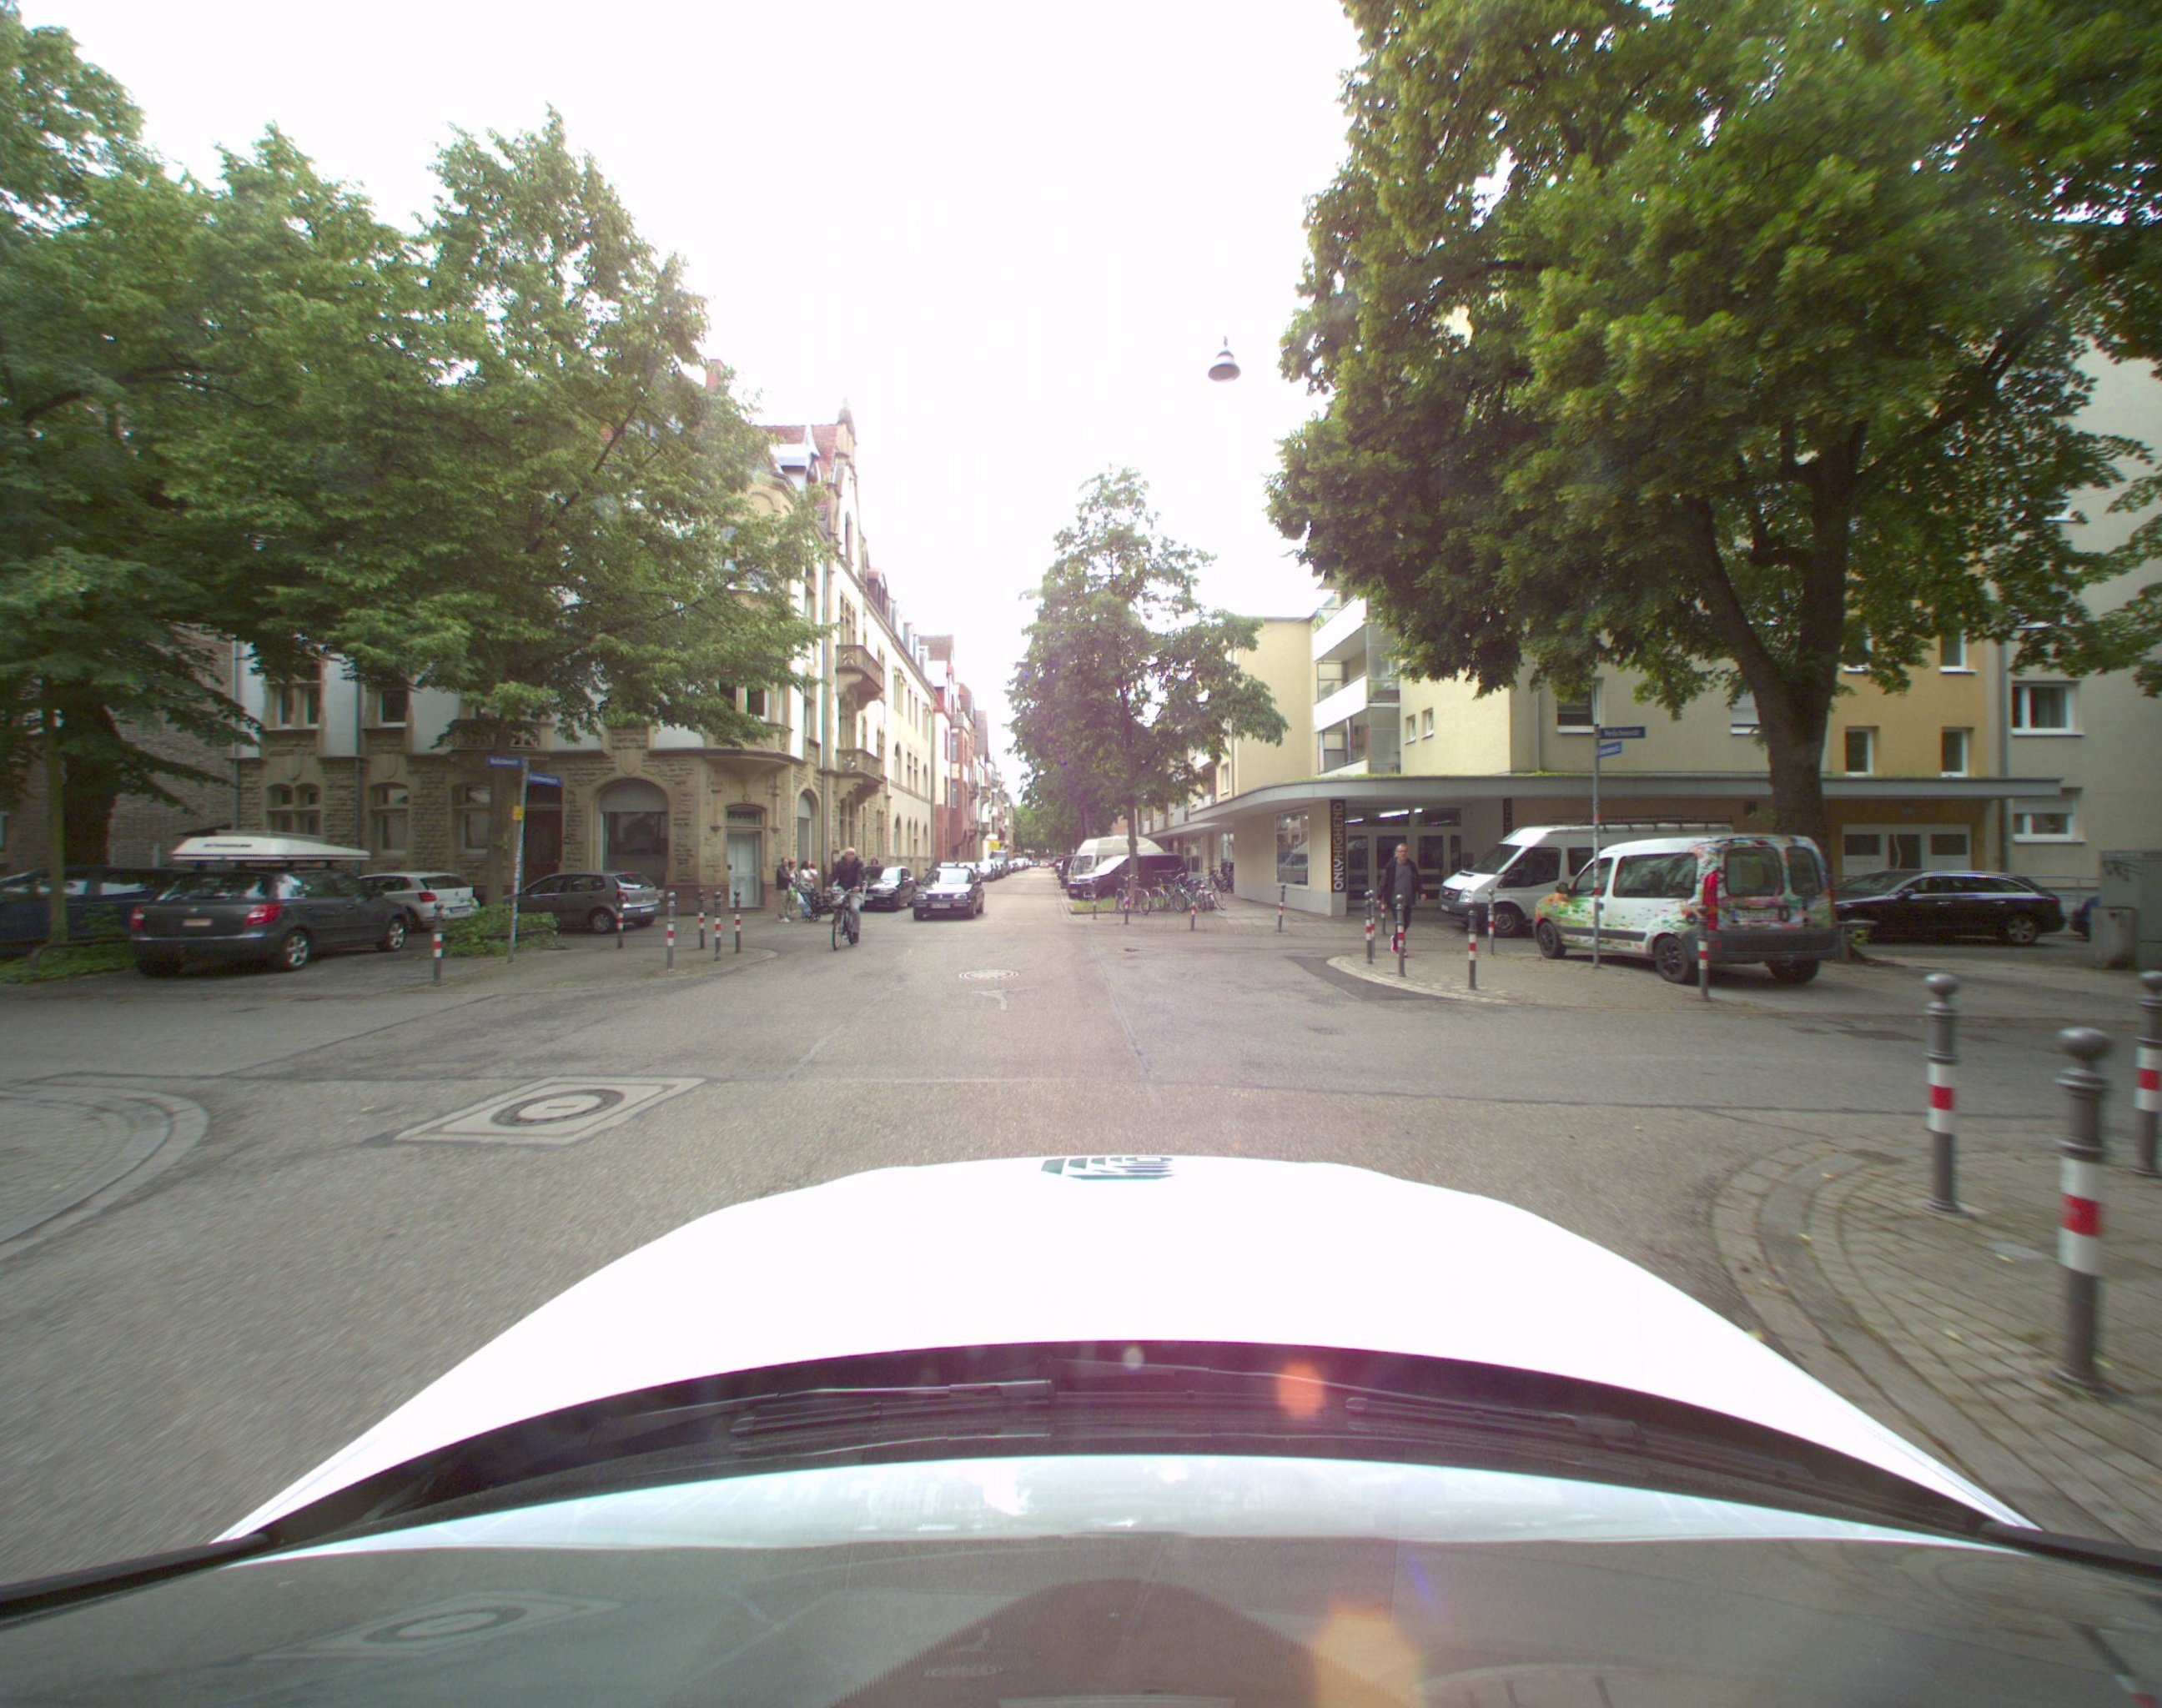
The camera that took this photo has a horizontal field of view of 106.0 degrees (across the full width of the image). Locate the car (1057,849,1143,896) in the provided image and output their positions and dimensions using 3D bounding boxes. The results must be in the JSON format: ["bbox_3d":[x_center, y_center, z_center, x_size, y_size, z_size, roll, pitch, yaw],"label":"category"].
[{"bbox_3d":[1.021,0.894,40.952,2.040,2.196,4.426,-1,-1,38],"label":"car"}]

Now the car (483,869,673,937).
[{"bbox_3d":[-12.031,1.154,19.604,3.550,1.460,1.653,-1,1,6],"label":"car"}]

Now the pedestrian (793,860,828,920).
[{"bbox_3d":[-7.449,0.977,22.422,0.623,1.593,0.674,0,-1,39],"label":"pedestrian"}]

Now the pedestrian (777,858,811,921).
[{"bbox_3d":[-7.631,0.934,21.690,0.612,1.643,0.605,0,-1,9],"label":"pedestrian"}]

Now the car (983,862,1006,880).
[{"bbox_3d":[-7.614,1.462,71.887,1.630,1.473,3.997,1,0,-2],"label":"car"}]

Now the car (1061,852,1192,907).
[{"bbox_3d":[1.647,0.870,29.177,4.356,1.854,1.894,0,-1,-28],"label":"car"}]

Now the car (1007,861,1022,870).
[{"bbox_3d":[-10.295,1.788,126.305,1.988,1.475,3.996,0,0,-2],"label":"car"}]

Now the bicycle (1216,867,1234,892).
[{"bbox_3d":[6.321,1.105,35.752,0.483,1.090,1.700,0,-1,0],"label":"bicycle"}]

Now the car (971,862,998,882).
[{"bbox_3d":[-7.170,1.335,60.864,1.658,1.421,3.925,1,0,-2],"label":"car"}]

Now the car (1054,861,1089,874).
[{"bbox_3d":[-1.183,1.667,100.263,4.038,1.559,1.865,0,-1,-33],"label":"car"}]

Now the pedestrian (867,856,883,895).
[{"bbox_3d":[-8.140,0.841,32.204,0.514,1.518,0.546,0,-1,-2],"label":"pedestrian"}]

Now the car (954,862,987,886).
[{"bbox_3d":[-7.037,1.258,52.203,1.722,1.386,4.133,1,0,-2],"label":"car"}]

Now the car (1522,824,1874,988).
[{"bbox_3d":[7.947,0.589,11.062,1.764,1.819,4.000,0,0,0],"label":"car"}]

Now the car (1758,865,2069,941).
[{"bbox_3d":[16.823,0.952,16.690,4.142,1.428,1.912,0,0,9],"label":"car"}]

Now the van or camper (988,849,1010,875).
[{"bbox_3d":[-8.736,0.790,87.164,2.003,2.651,5.312,0,1,-2],"label":"van or camper"}]

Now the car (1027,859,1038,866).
[{"bbox_3d":[-11.803,2.043,197.656,1.825,1.645,3.732,2,-2,-16],"label":"car"}]

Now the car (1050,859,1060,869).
[{"bbox_3d":[-5.453,2.069,170.527,1.989,2.014,3.996,3,-1,-3],"label":"car"}]

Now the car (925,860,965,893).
[{"bbox_3d":[-6.837,1.108,41.269,1.643,1.570,2.953,1,0,-3],"label":"car"}]

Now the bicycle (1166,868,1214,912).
[{"bbox_3d":[3.124,1.018,23.543,0.551,1.173,1.715,0,0,-24],"label":"bicycle"}]

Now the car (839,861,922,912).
[{"bbox_3d":[-6.422,1.041,26.505,1.704,1.495,3.998,1,-2,-1],"label":"car"}]

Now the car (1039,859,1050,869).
[{"bbox_3d":[-7.214,2.001,161.472,1.988,1.794,3.997,1,-2,-1],"label":"car"}]

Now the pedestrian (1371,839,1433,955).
[{"bbox_3d":[5.090,0.675,12.930,0.776,1.797,0.509,0,-1,-1],"label":"pedestrian"}]

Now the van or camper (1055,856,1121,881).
[{"bbox_3d":[0.580,1.163,67.297,5.037,1.869,2.106,-2,-1,-30],"label":"van or camper"}]

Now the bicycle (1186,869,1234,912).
[{"bbox_3d":[3.749,1.039,23.817,0.551,1.173,1.684,0,0,-24],"label":"bicycle"}]

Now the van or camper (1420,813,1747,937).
[{"bbox_3d":[10.681,0.397,17.717,5.746,2.494,2.139,-1,3,3],"label":"van or camper"}]

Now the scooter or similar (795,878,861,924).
[{"bbox_3d":[-6.588,1.218,21.258,1.460,1.104,0.677,2,0,9],"label":"scooter or similar"}]

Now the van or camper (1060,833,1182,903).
[{"bbox_3d":[1.617,0.520,32.244,4.616,2.596,1.890,0,-1,-35],"label":"van or camper"}]

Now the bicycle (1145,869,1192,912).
[{"bbox_3d":[2.483,1.024,23.321,0.551,1.173,1.715,0,0,-24],"label":"bicycle"}]

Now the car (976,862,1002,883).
[{"bbox_3d":[-7.567,1.502,67.277,1.782,1.647,4.357,1,0,-2],"label":"car"}]

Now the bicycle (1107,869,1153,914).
[{"bbox_3d":[1.340,1.023,22.669,0.551,1.173,1.715,0,0,-24],"label":"bicycle"}]

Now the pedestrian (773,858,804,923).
[{"bbox_3d":[-7.577,0.934,21.094,0.524,1.643,0.530,1,-1,9],"label":"pedestrian"}]

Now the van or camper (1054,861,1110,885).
[{"bbox_3d":[0.075,1.798,75.569,4.757,1.994,1.982,-1,-2,-28],"label":"van or camper"}]

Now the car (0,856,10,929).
[{"bbox_3d":[-31.456,1.048,21.730,3.503,2.007,1.915,1,1,6],"label":"car"}]

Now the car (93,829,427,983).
[{"bbox_3d":[-12.258,0.675,12.597,1.830,1.968,3.942,0,0,-14],"label":"car"}]

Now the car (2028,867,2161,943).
[{"bbox_3d":[21.729,0.983,16.143,3.673,1.428,1.636,0,0,9],"label":"car"}]

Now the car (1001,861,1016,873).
[{"bbox_3d":[-9.207,1.641,103.549,1.785,1.480,4.018,1,-1,-3],"label":"car"}]

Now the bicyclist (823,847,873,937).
[{"bbox_3d":[-4.095,0.662,14.349,0.645,1.538,0.677,-1,-1,0],"label":"bicyclist"}]

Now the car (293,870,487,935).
[{"bbox_3d":[-17.013,1.170,20.152,3.472,1.460,1.652,1,-2,6],"label":"car"}]

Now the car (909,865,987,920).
[{"bbox_3d":[-3.726,1.063,23.396,1.704,1.413,3.849,-1,-2,-2],"label":"car"}]

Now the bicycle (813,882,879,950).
[{"bbox_3d":[-4.088,1.049,14.268,0.632,1.094,1.799,0,-1,0],"label":"bicycle"}]

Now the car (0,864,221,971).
[{"bbox_3d":[-16.059,0.932,12.536,1.633,1.516,3.636,-1,-1,33],"label":"car"}]
